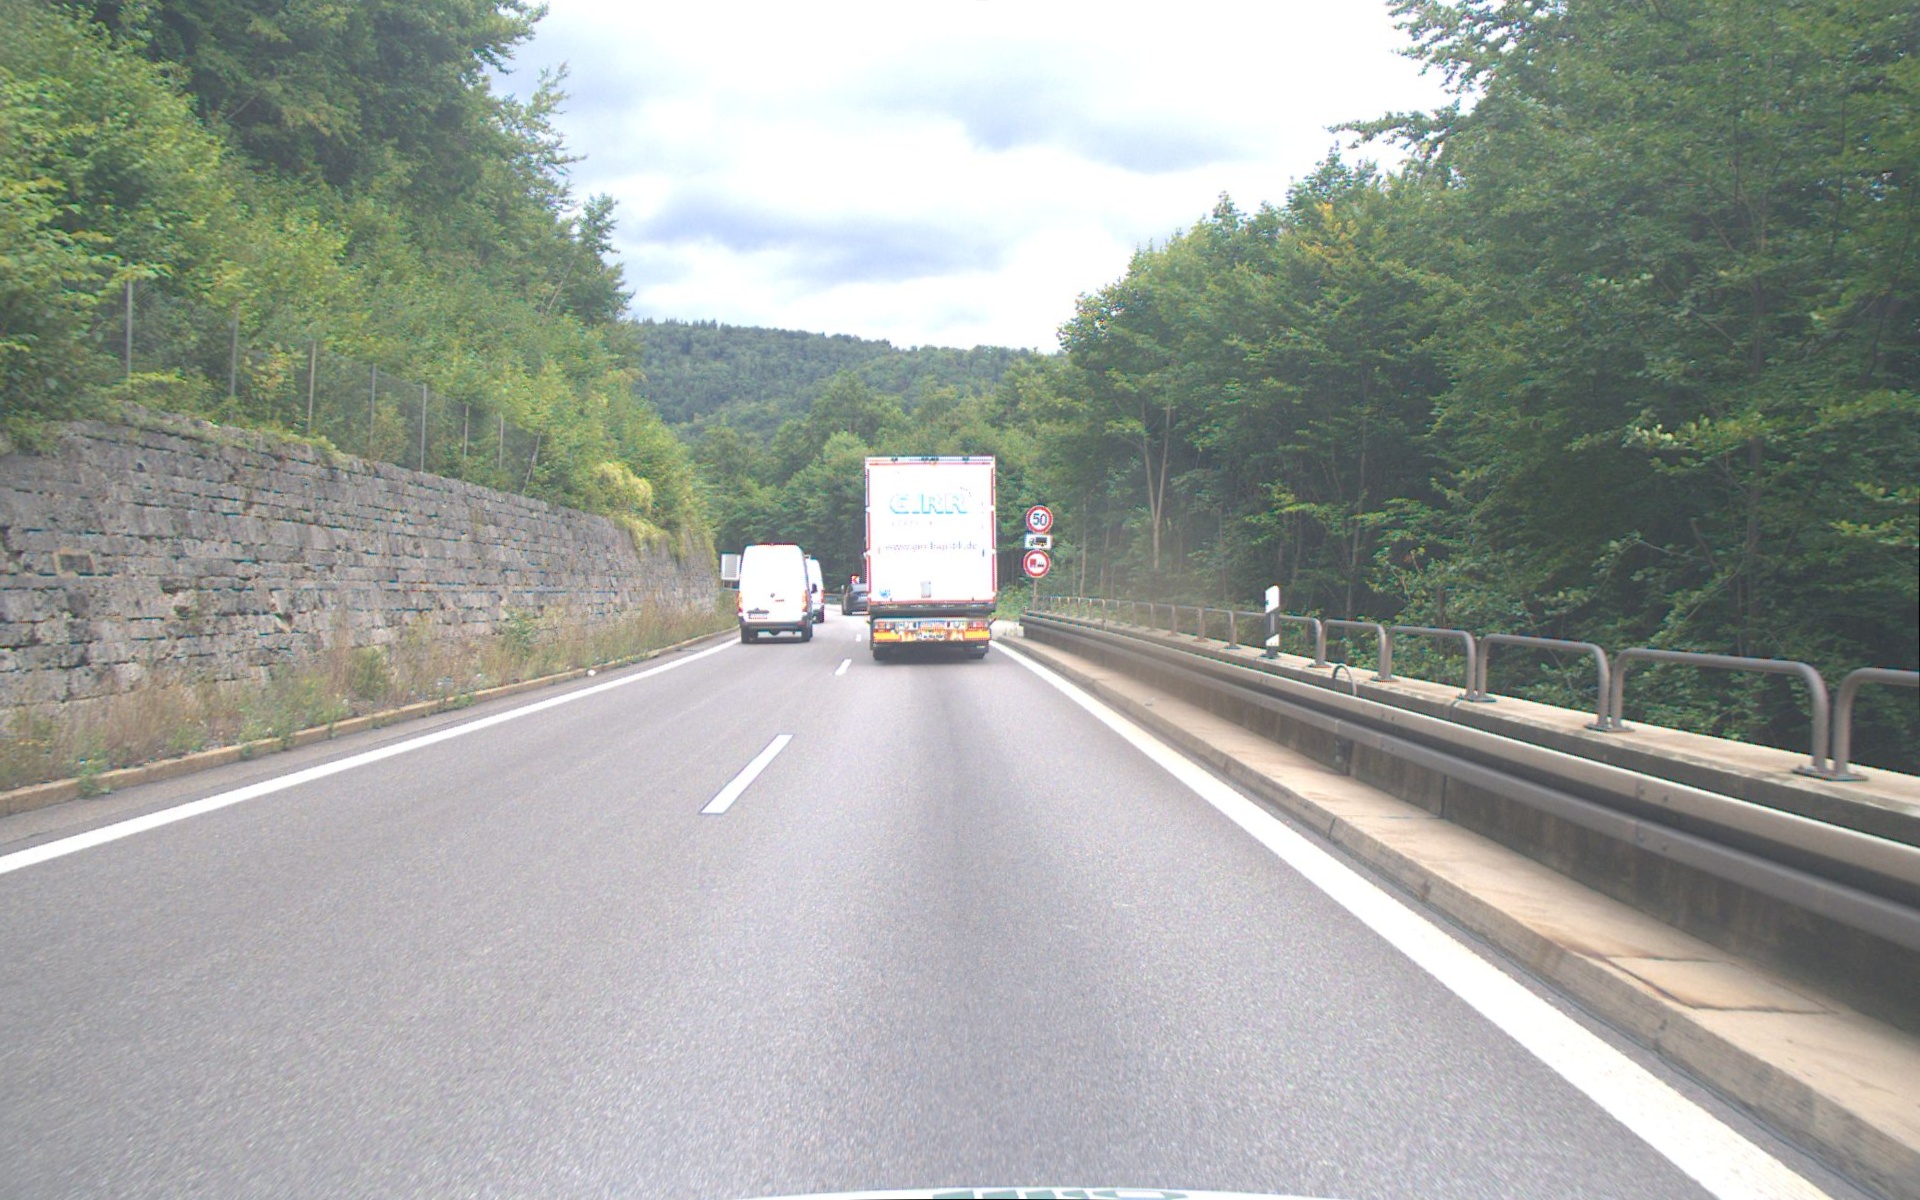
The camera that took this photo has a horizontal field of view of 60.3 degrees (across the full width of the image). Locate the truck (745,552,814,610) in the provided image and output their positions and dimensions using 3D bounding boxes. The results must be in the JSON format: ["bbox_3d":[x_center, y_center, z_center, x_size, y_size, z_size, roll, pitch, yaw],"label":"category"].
[{"bbox_3d":[-13.645,-1.487,124.133,3.007,4.055,13.644,-2,2,-15],"label":"truck"}]

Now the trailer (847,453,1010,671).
[{"bbox_3d":[-0.831,-0.896,37.530,2.996,4.055,12.133,2,2,-2],"label":"trailer"}]

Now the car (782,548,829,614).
[{"bbox_3d":[-6.824,-0.831,72.490,1.902,2.719,5.983,1,0,-6],"label":"car"}]

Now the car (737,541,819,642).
[{"bbox_3d":[-5.260,-0.268,48.576,1.949,2.719,6.932,1,0,-3],"label":"car"}]

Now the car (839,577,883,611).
[{"bbox_3d":[-5.183,-0.344,86.065,1.956,1.691,3.993,1,0,-8],"label":"car"}]
